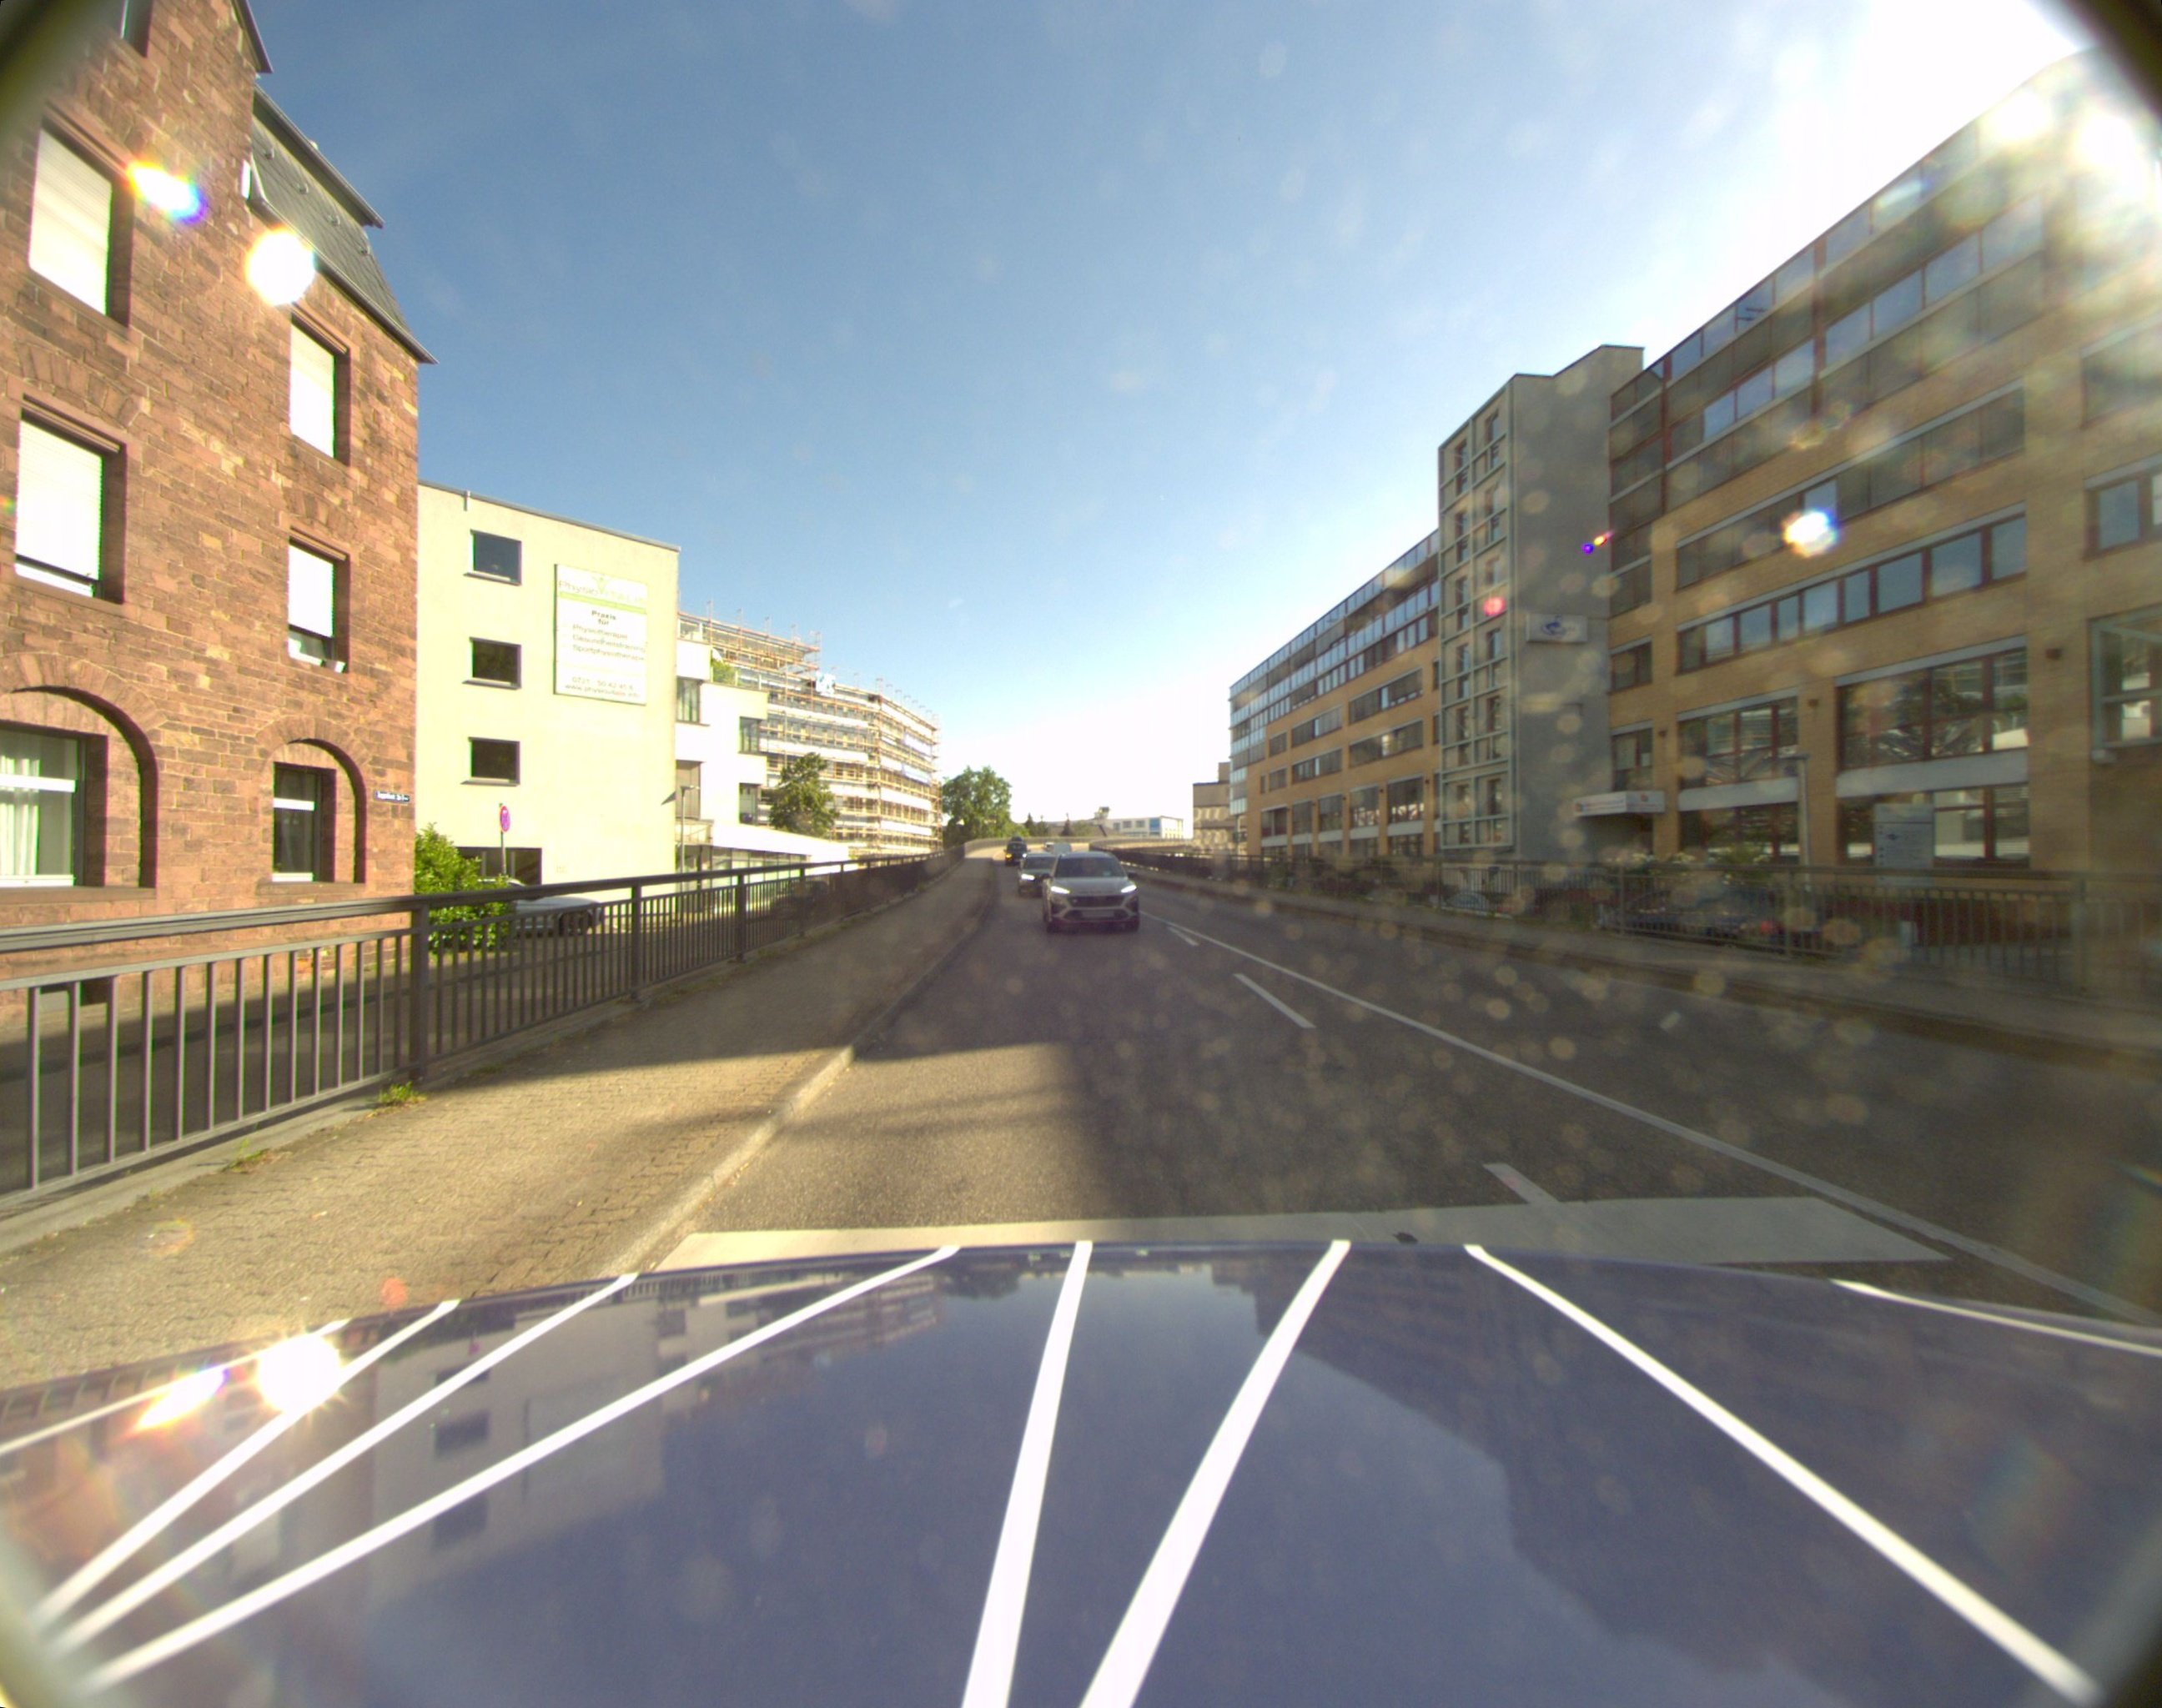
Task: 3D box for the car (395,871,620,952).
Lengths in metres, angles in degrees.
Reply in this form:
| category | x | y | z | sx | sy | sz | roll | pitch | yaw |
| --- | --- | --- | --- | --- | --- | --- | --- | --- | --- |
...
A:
| category | x | y | z | sx | sy | sz | roll | pitch | yaw |
| --- | --- | --- | --- | --- | --- | --- | --- | --- | --- |
| car | -15.521 | 1.442 | 20.749 | 4.658 | 1.757 | 1.823 | -2 | 2 | -44 |

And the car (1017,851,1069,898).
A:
| category | x | y | z | sx | sy | sz | roll | pitch | yaw |
| --- | --- | --- | --- | --- | --- | --- | --- | --- | --- |
| car | -1.399 | 0.690 | 27.593 | 1.721 | 1.483 | 4.167 | -1 | 1 | -3 |

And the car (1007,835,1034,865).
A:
| category | x | y | z | sx | sy | sz | roll | pitch | yaw |
| --- | --- | --- | --- | --- | --- | --- | --- | --- | --- |
| car | -4.757 | -0.339 | 59.356 | 1.911 | 2.201 | 4.595 | -1 | 1 | -7 |

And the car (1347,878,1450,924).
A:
| category | x | y | z | sx | sy | sz | roll | pitch | yaw |
| --- | --- | --- | --- | --- | --- | --- | --- | --- | --- |
| car | 12.337 | 1.770 | 29.832 | 1.826 | 1.594 | 4.355 | 0 | -1 | -7 |

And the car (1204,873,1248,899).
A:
| category | x | y | z | sx | sy | sz | roll | pitch | yaw |
| --- | --- | --- | --- | --- | --- | --- | --- | --- | --- |
| car | 9.859 | 2.125 | 51.959 | 1.999 | 1.652 | 3.999 | 0 | -1 | -3 |

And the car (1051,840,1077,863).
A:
| category | x | y | z | sx | sy | sz | roll | pitch | yaw |
| --- | --- | --- | --- | --- | --- | --- | --- | --- | --- |
| car | -1.429 | -0.168 | 61.047 | 1.815 | 1.790 | 5.119 | 0 | -1 | -4 |

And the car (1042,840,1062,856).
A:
| category | x | y | z | sx | sy | sz | roll | pitch | yaw |
| --- | --- | --- | --- | --- | --- | --- | --- | --- | --- |
| car | -2.991 | -0.571 | 77.091 | 1.825 | 1.594 | 3.998 | 0 | 0 | -5 |

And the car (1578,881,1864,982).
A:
| category | x | y | z | sx | sy | sz | roll | pitch | yaw |
| --- | --- | --- | --- | --- | --- | --- | --- | --- | --- |
| car | 13.654 | 1.544 | 16.686 | 1.957 | 1.747 | 4.685 | -1 | -1 | -8 |

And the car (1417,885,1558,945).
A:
| category | x | y | z | sx | sy | sz | roll | pitch | yaw |
| --- | --- | --- | --- | --- | --- | --- | --- | --- | --- |
| car | 12.818 | 1.864 | 24.338 | 1.826 | 1.594 | 4.355 | 0 | -1 | -7 |

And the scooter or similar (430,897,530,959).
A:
| category | x | y | z | sx | sy | sz | roll | pitch | yaw |
| --- | --- | --- | --- | --- | --- | --- | --- | --- | --- |
| scooter or similar | -13.076 | 1.589 | 16.567 | 1.462 | 1.212 | 0.785 | -3 | 0 | -10 |

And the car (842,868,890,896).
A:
| category | x | y | z | sx | sy | sz | roll | pitch | yaw |
| --- | --- | --- | --- | --- | --- | --- | --- | --- | --- |
| car | -12.552 | 1.596 | 44.573 | 1.850 | 1.526 | 3.999 | 0 | -1 | -3 |

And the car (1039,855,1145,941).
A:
| category | x | y | z | sx | sy | sz | roll | pitch | yaw |
| --- | --- | --- | --- | --- | --- | --- | --- | --- | --- |
| car | 0.090 | 0.810 | 16.203 | 1.850 | 1.561 | 4.219 | -1 | 0 | -5 |

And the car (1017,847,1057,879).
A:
| category | x | y | z | sx | sy | sz | roll | pitch | yaw |
| --- | --- | --- | --- | --- | --- | --- | --- | --- | --- |
| car | -2.426 | 0.436 | 40.642 | 1.850 | 1.527 | 4.504 | -1 | 1 | -7 |

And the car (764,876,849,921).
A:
| category | x | y | z | sx | sy | sz | roll | pitch | yaw |
| --- | --- | --- | --- | --- | --- | --- | --- | --- | --- |
| car | -10.949 | 1.740 | 30.689 | 1.849 | 1.422 | 4.680 | -1 | 1 | -2 |

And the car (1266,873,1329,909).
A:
| category | x | y | z | sx | sy | sz | roll | pitch | yaw |
| --- | --- | --- | --- | --- | --- | --- | --- | --- | --- |
| car | 11.325 | 1.899 | 40.059 | 1.999 | 1.714 | 3.999 | 0 | -1 | -3 |
